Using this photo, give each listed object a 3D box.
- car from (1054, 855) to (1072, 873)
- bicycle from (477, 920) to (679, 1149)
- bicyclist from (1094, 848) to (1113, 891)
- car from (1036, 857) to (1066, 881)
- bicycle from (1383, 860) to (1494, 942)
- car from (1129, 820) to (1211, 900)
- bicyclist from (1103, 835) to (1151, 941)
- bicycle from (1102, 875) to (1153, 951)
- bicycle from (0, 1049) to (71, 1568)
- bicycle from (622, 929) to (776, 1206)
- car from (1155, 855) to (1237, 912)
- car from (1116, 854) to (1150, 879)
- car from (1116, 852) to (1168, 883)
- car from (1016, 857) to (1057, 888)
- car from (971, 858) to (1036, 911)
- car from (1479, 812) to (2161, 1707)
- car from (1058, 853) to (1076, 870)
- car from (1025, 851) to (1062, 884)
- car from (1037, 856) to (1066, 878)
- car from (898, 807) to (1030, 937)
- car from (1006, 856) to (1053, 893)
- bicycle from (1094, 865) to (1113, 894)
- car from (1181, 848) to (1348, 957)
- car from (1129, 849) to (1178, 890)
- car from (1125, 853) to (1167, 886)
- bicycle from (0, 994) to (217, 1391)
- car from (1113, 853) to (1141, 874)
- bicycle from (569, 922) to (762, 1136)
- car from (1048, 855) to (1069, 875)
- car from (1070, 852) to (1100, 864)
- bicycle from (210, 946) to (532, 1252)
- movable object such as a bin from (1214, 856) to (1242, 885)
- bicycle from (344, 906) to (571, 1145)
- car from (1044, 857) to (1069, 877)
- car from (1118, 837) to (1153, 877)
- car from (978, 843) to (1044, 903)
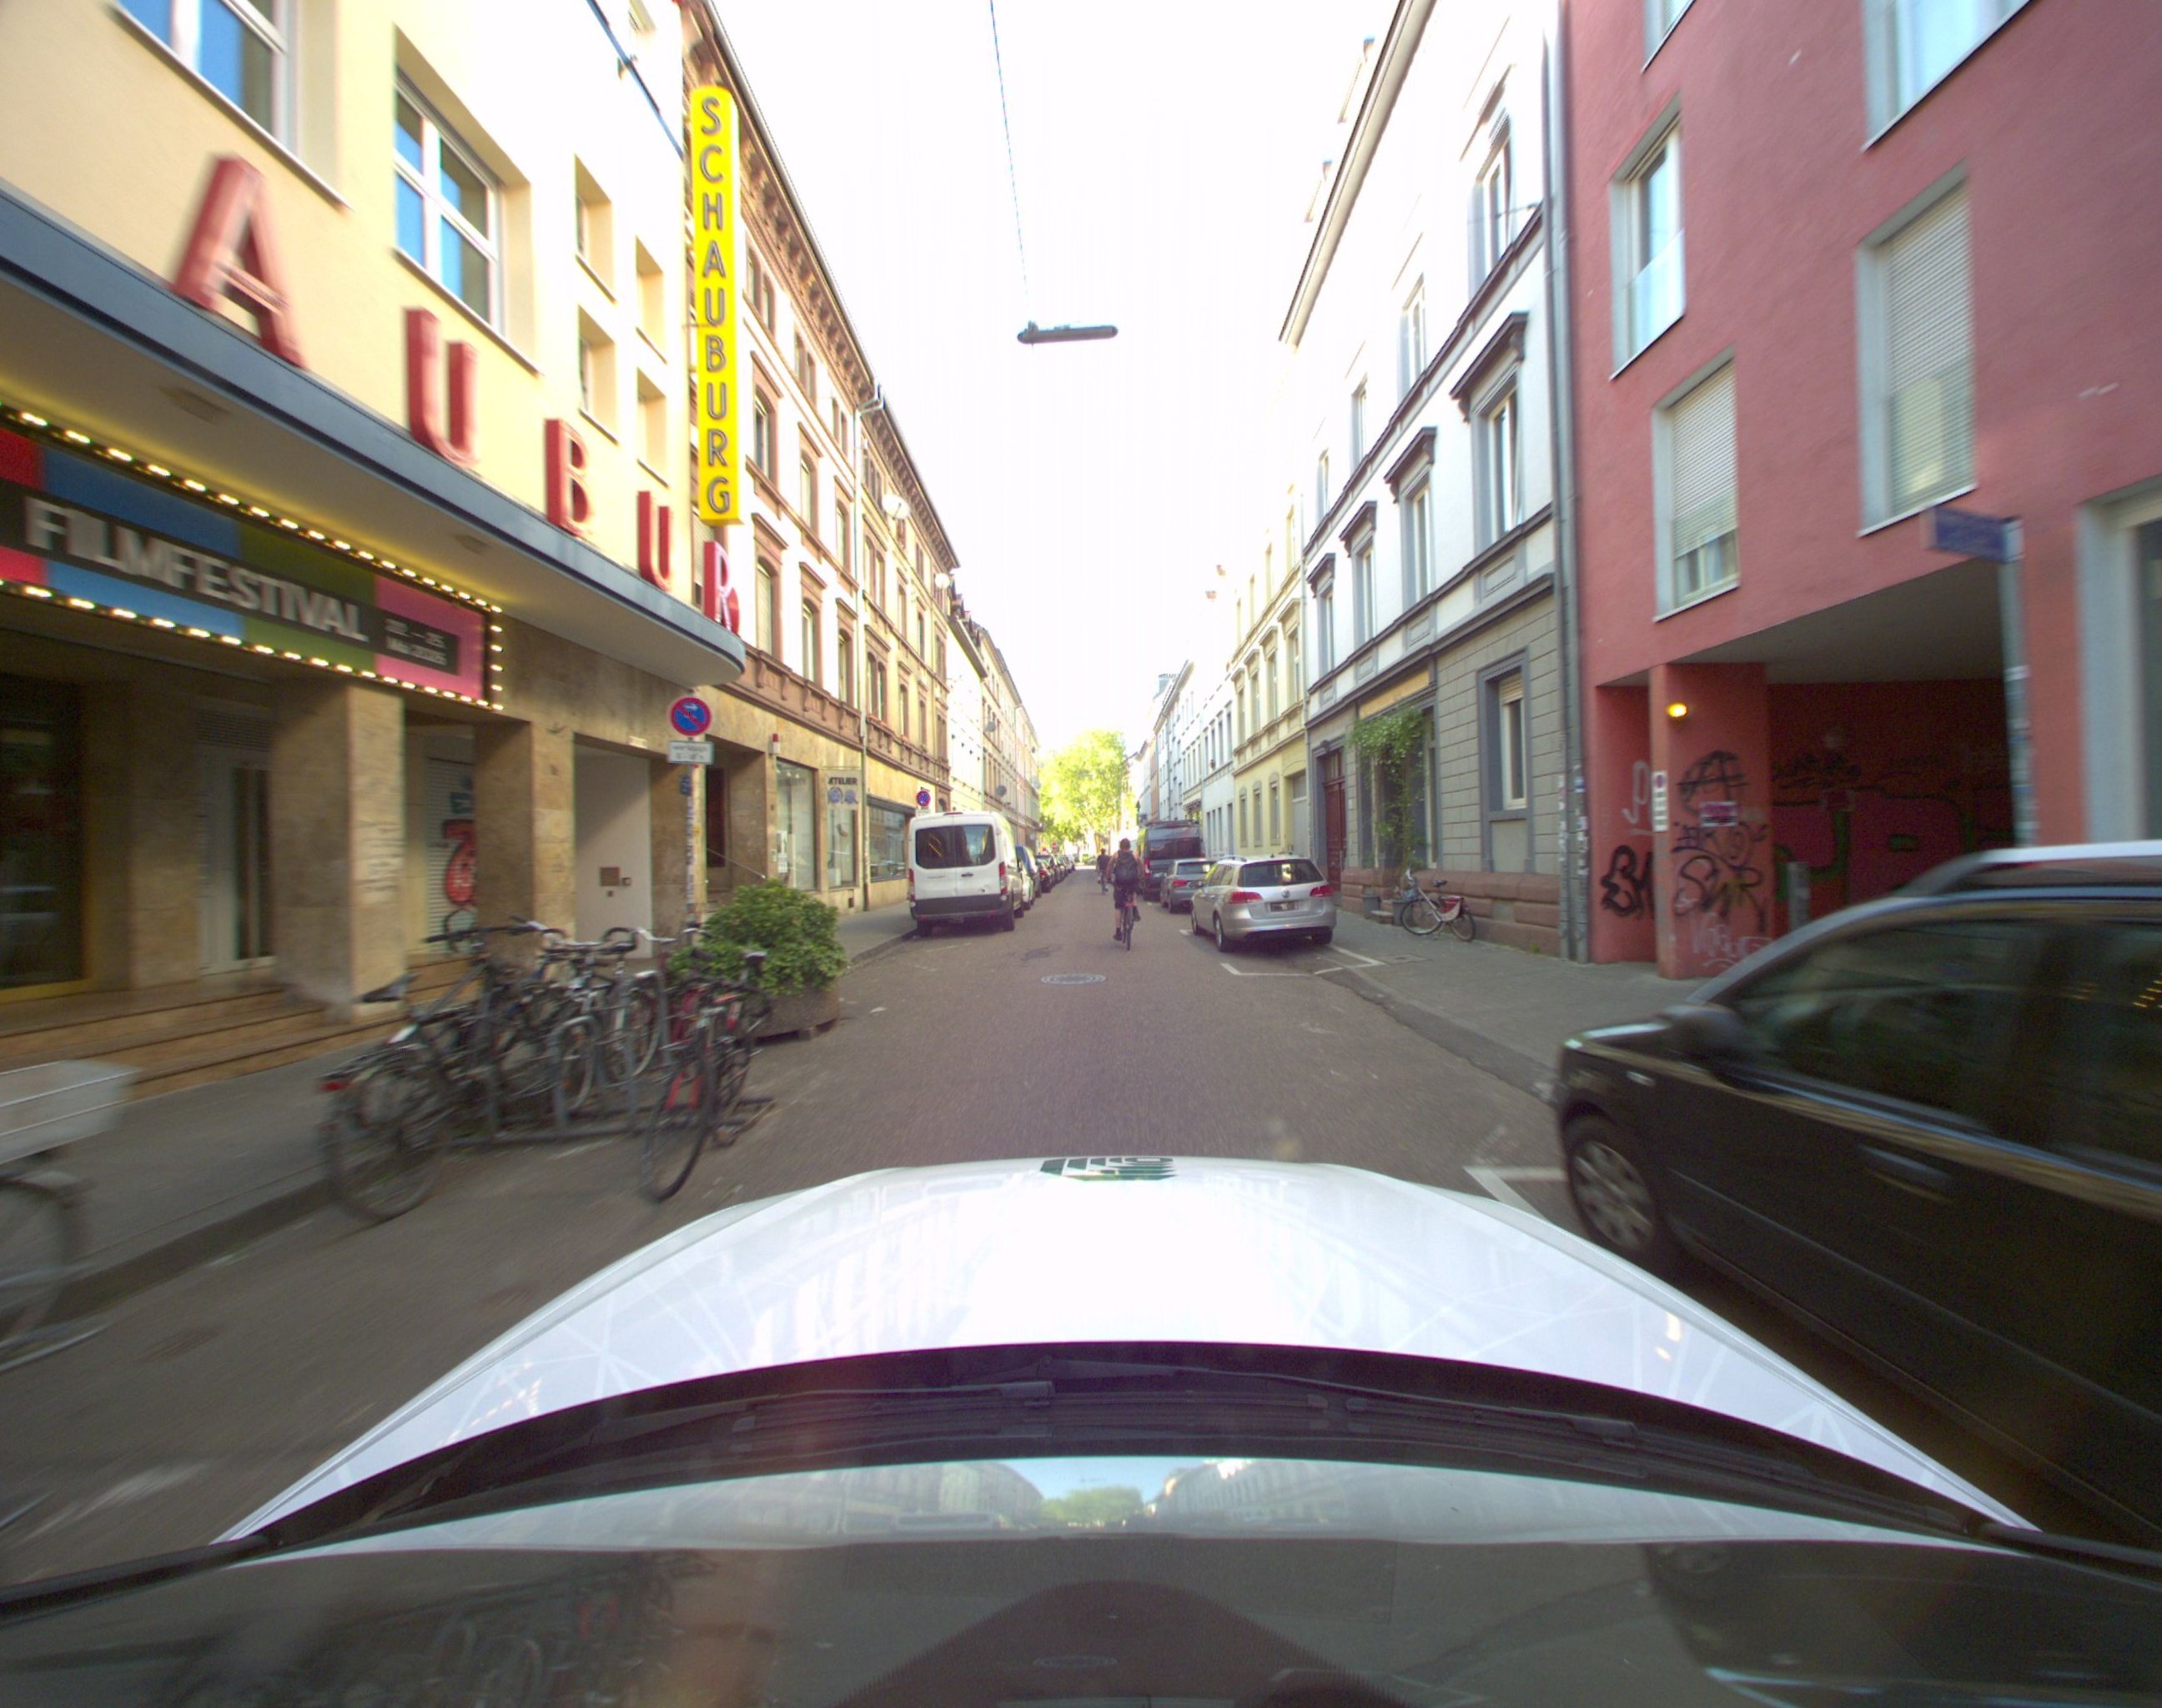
[{"bbox_3d":[-1.667,0.875,74.708,1.540,1.550,3.462,-2,0,-2],"label":"car"},{"bbox_3d":[-3.291,1.099,5.499,0.398,1.174,1.668,0,0,-3],"label":"bicycle"},{"bbox_3d":[0.888,0.594,31.806,0.667,1.658,0.877,-2,0,1],"label":"bicyclist"},{"bbox_3d":[-1.898,0.933,52.336,1.586,1.440,3.655,-2,0,2],"label":"car"},{"bbox_3d":[5.306,0.660,12.238,0.708,1.097,1.900,-4,-1,-2],"label":"bicycle"},{"bbox_3d":[3.041,0.191,29.219,2.168,2.425,6.309,-3,0,0],"label":"car"},{"bbox_3d":[0.742,0.542,13.472,0.738,1.679,1.116,0,0,0],"label":"bicyclist"},{"bbox_3d":[0.741,0.929,13.481,0.737,1.100,2.042,0,0,0],"label":"bicycle"},{"bbox_3d":[-2.572,0.999,0.932,0.545,1.094,1.880,0,0,-3],"label":"bicycle"},{"bbox_3d":[-2.007,1.015,4.463,0.461,1.047,1.741,0,0,-15],"label":"bicycle"},{"bbox_3d":[3.139,0.756,22.909,1.741,1.444,4.172,-1,0,1],"label":"car"},{"bbox_3d":[3.172,0.747,50.299,1.720,1.429,3.831,-2,0,-1],"label":"car"},{"bbox_3d":[3.302,0.719,45.247,1.811,1.478,4.594,-5,1,-9],"label":"car"},{"bbox_3d":[-2.212,0.896,41.398,1.731,1.427,4.000,-2,0,1],"label":"car"},{"bbox_3d":[-2.304,0.878,25.047,1.640,1.447,3.838,-2,0,-1],"label":"car"},{"bbox_3d":[2.652,0.691,2.061,1.596,1.539,3.451,-4,0,2],"label":"car"},{"bbox_3d":[-1.497,0.750,86.911,1.782,1.737,3.876,-2,0,0],"label":"car"},{"bbox_3d":[-2.161,0.770,47.358,1.795,1.698,4.000,-4,0,1],"label":"car"},{"bbox_3d":[-2.031,0.892,57.313,1.667,1.430,3.891,-2,0,3],"label":"car"},{"bbox_3d":[-2.488,0.354,18.995,2.161,2.452,5.919,-3,0,-1],"label":"car"},{"bbox_3d":[-2.227,0.863,36.336,1.857,1.440,4.642,-2,0,-1],"label":"car"},{"bbox_3d":[0.876,0.974,31.770,0.662,1.037,1.959,-2,0,1],"label":"bicycle"},{"bbox_3d":[2.960,0.705,14.155,1.780,1.454,4.546,-4,0,0],"label":"car"},{"bbox_3d":[3.111,0.648,35.712,1.688,1.608,4.374,-3,0,0],"label":"car"},{"bbox_3d":[3.153,0.733,40.463,1.740,1.485,4.243,-2,0,0],"label":"car"},{"bbox_3d":[-3.434,1.043,2.277,0.572,1.045,1.408,-1,0,-3],"label":"bicycle"},{"bbox_3d":[3.477,0.730,62.272,1.727,1.470,4.018,-2,0,-2],"label":"car"},{"bbox_3d":[-2.706,1.063,5.528,0.441,1.047,1.863,0,0,-3],"label":"bicycle"},{"bbox_3d":[-1.838,0.888,67.332,1.600,1.530,3.377,-3,0,-1],"label":"car"},{"bbox_3d":[0.668,0.648,126.114,4.460,1.759,1.864,-2,0,-4],"label":"car"},{"bbox_3d":[-3.233,1.035,3.862,0.416,1.047,1.317,0,0,-3],"label":"bicycle"},{"bbox_3d":[5.693,0.625,31.490,0.861,1.042,0.707,-5,0,-2],"label":"movable object such as a bin"},{"bbox_3d":[-3.782,0.956,5.081,0.338,1.174,1.488,0,0,-3],"label":"bicycle"},{"bbox_3d":[-1.846,0.937,62.372,1.700,1.414,4.302,-2,0,1],"label":"car"},{"bbox_3d":[3.675,0.199,55.744,2.195,2.551,6.040,-2,0,3],"label":"car"},{"bbox_3d":[-2.453,0.645,29.644,1.821,1.891,4.614,-4,0,1],"label":"car"}]
